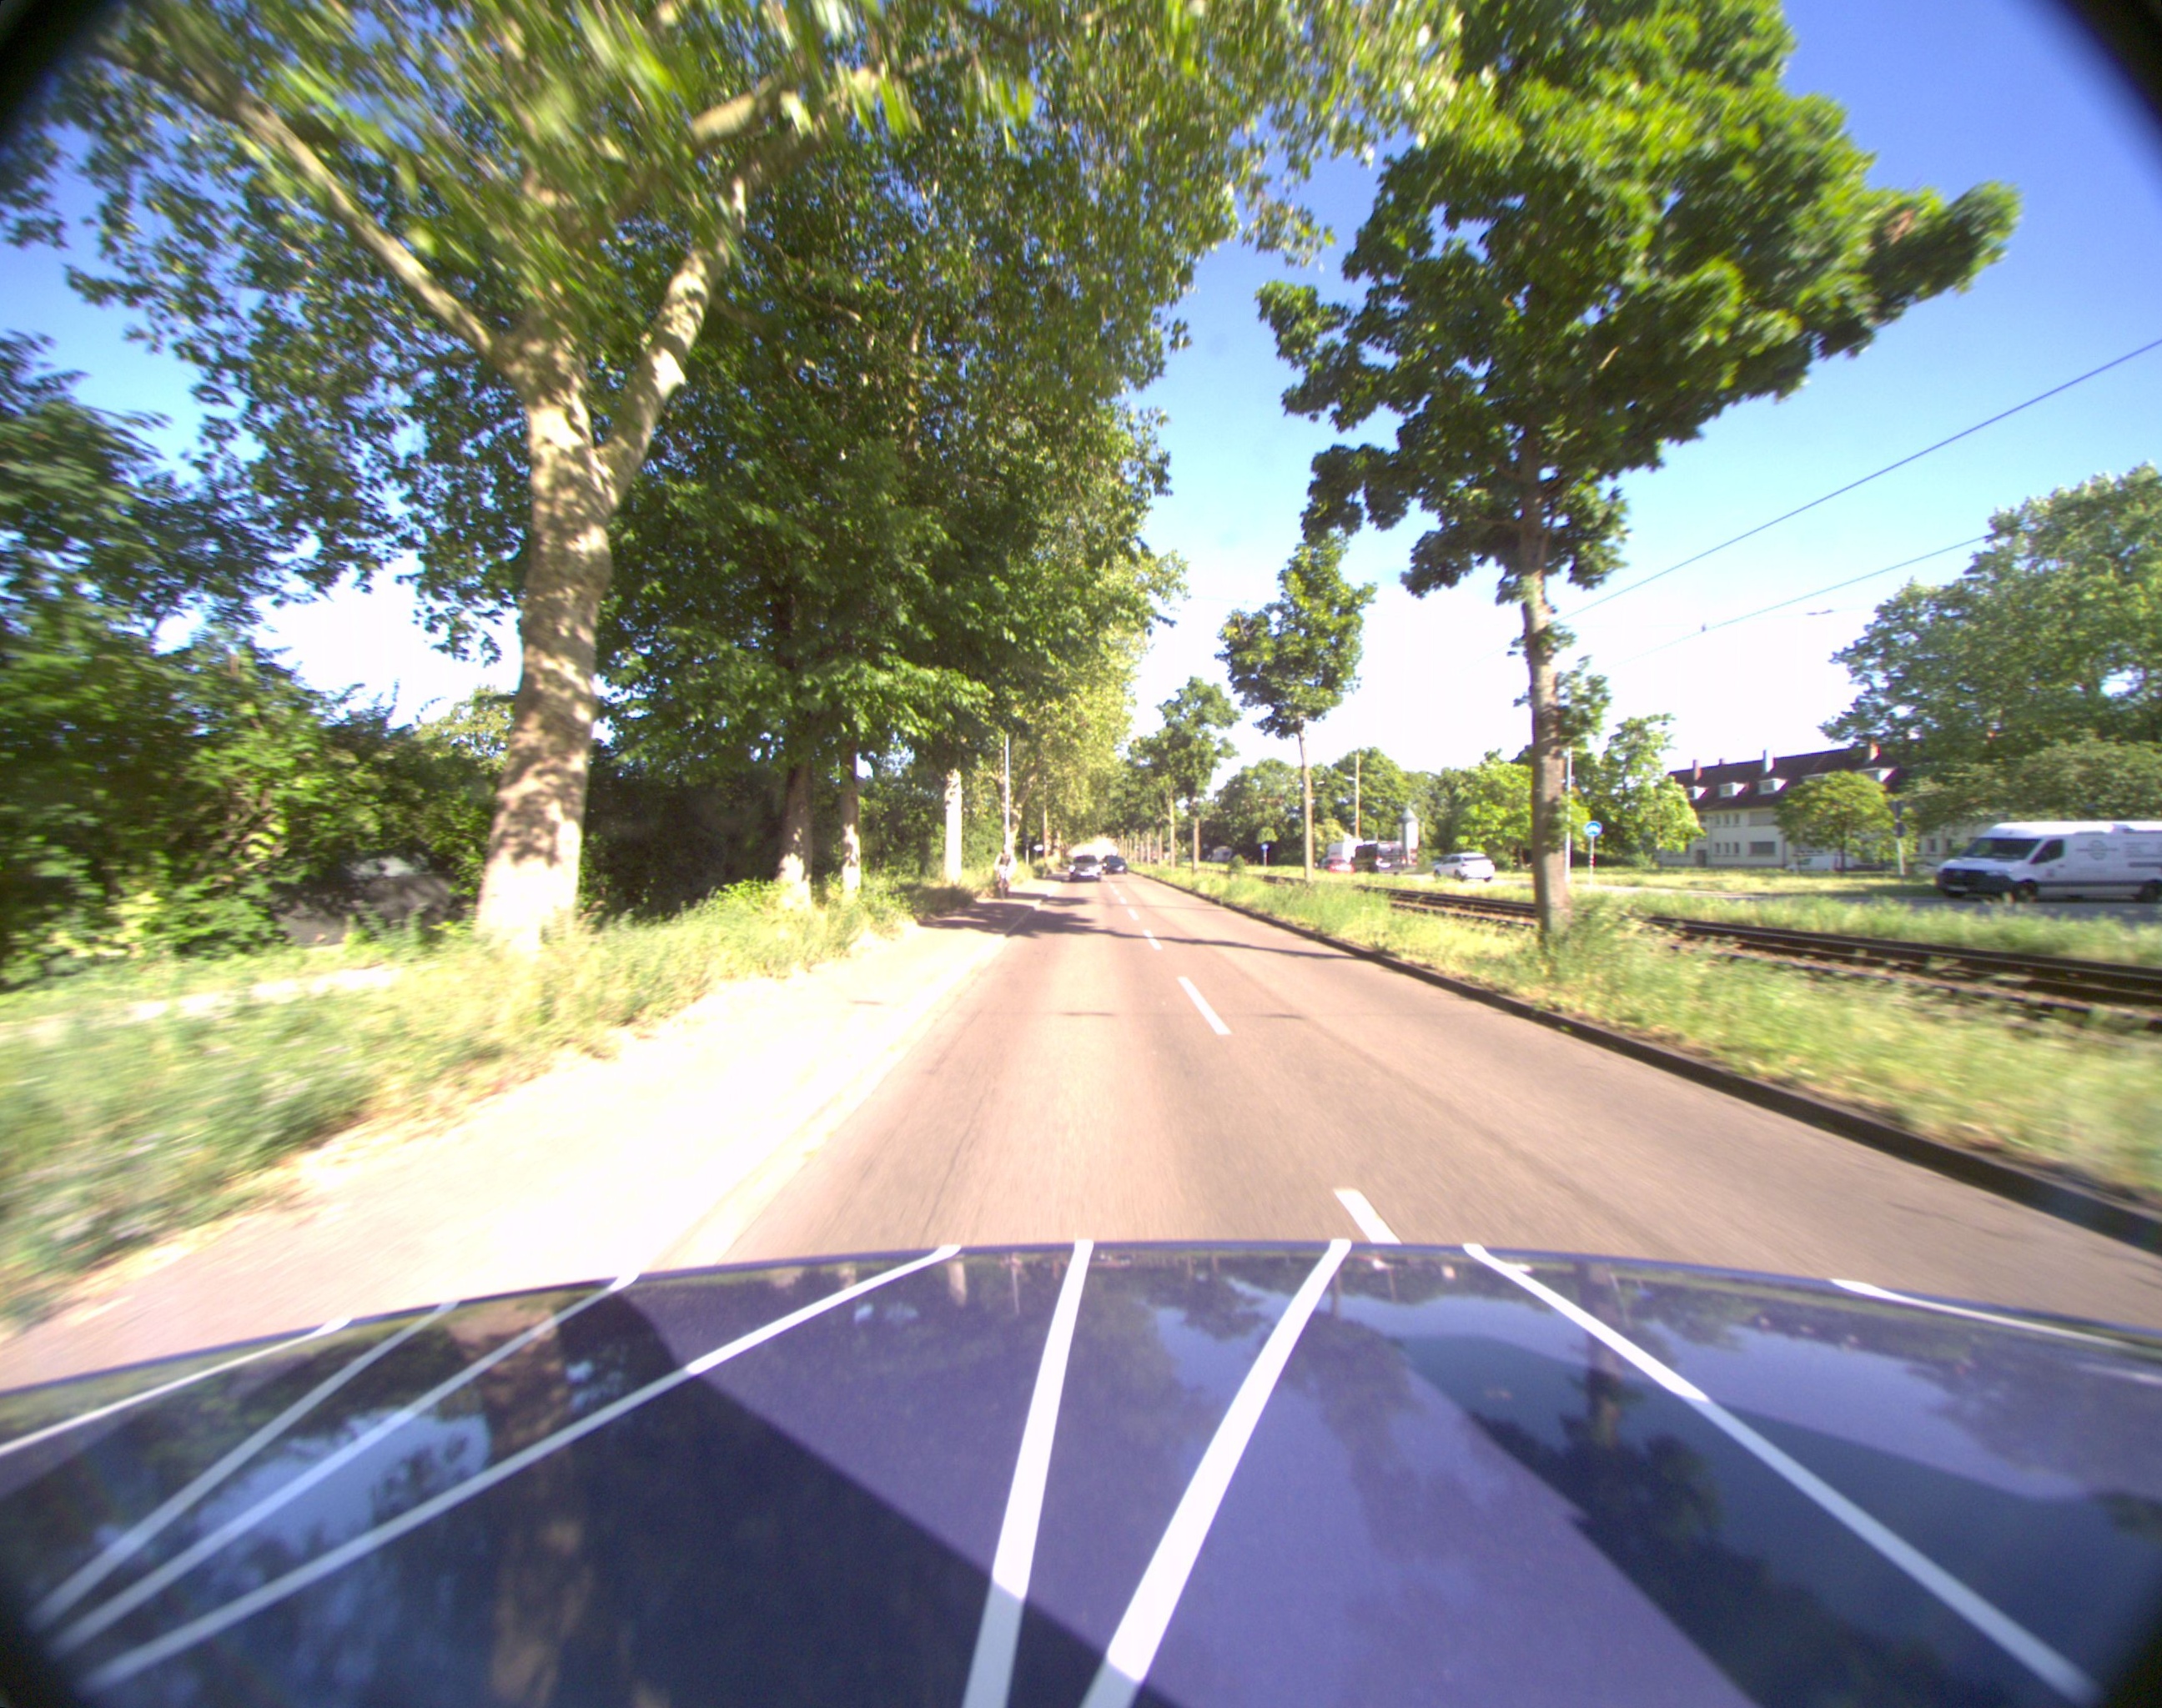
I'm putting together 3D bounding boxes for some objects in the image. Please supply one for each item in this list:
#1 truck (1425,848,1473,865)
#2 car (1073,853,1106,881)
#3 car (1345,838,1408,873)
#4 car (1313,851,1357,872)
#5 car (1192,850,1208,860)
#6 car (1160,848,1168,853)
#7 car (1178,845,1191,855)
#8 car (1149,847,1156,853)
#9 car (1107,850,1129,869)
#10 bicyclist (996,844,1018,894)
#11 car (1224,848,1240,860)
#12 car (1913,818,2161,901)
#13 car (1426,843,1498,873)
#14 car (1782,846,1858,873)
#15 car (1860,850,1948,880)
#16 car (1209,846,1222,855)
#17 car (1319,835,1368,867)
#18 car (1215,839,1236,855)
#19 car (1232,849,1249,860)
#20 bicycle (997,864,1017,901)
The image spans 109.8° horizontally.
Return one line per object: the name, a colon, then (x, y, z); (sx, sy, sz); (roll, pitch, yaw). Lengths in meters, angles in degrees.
truck: (42.454, 0.283, 87.696); (4.946, 1.858, 2.080); (-1, 1, -19)
car: (0.466, 0.731, 43.929); (1.808, 1.478, 3.546); (-1, 1, 0)
car: (21.919, 0.066, 56.703); (2.188, 2.362, 6.464); (-1, 1, 1)
car: (17.286, 0.489, 51.823); (1.680, 1.401, 4.000); (-1, 0, 1)
car: (18.725, 0.100, 119.404); (1.998, 1.522, 3.751); (-1, 0, 2)
car: (23.312, -0.947, 213.376); (1.731, 1.519, 4.442); (-1, 1, 2)
car: (18.804, -0.802, 138.199); (1.815, 1.734, 4.981); (-1, 1, 1)
car: (19.865, -1.070, 211.109); (1.731, 1.519, 4.442); (-1, 1, 2)
car: (3.027, 0.441, 63.238); (1.714, 1.478, 3.547); (-1, 1, 2)
bicyclist: (-2.453, 0.489, 25.160); (0.615, 1.619, 0.909); (-1, 1, 1)
car: (22.784, -0.016, 114.764); (1.626, 1.613, 4.532); (-1, 1, 1)
car: (32.102, 0.145, 25.073); (7.085, 2.493, 2.330); (-1, 0, -4)
car: (21.832, 0.207, 43.752); (1.827, 1.598, 4.773); (-1, 1, 1)
car: (59.128, 0.408, 60.876); (2.000, 2.002, 3.996); (-1, 1, -8)
car: (59.665, 0.770, 55.203); (1.999, 2.002, 3.998); (-1, 1, -4)
car: (23.710, -0.698, 134.209); (1.771, 1.554, 4.282); (-1, 1, 3)
car: (22.282, -0.274, 64.737); (2.006, 2.482, 6.136); (-1, 1, 0)
car: (23.177, -1.098, 122.263); (2.231, 2.565, 6.799); (-1, 0, 1)
car: (22.587, 0.063, 107.659); (1.678, 1.575, 4.248); (-1, 1, 3)
bicycle: (-2.448, 0.935, 25.168); (0.441, 1.146, 1.823); (-1, 0, 1)
